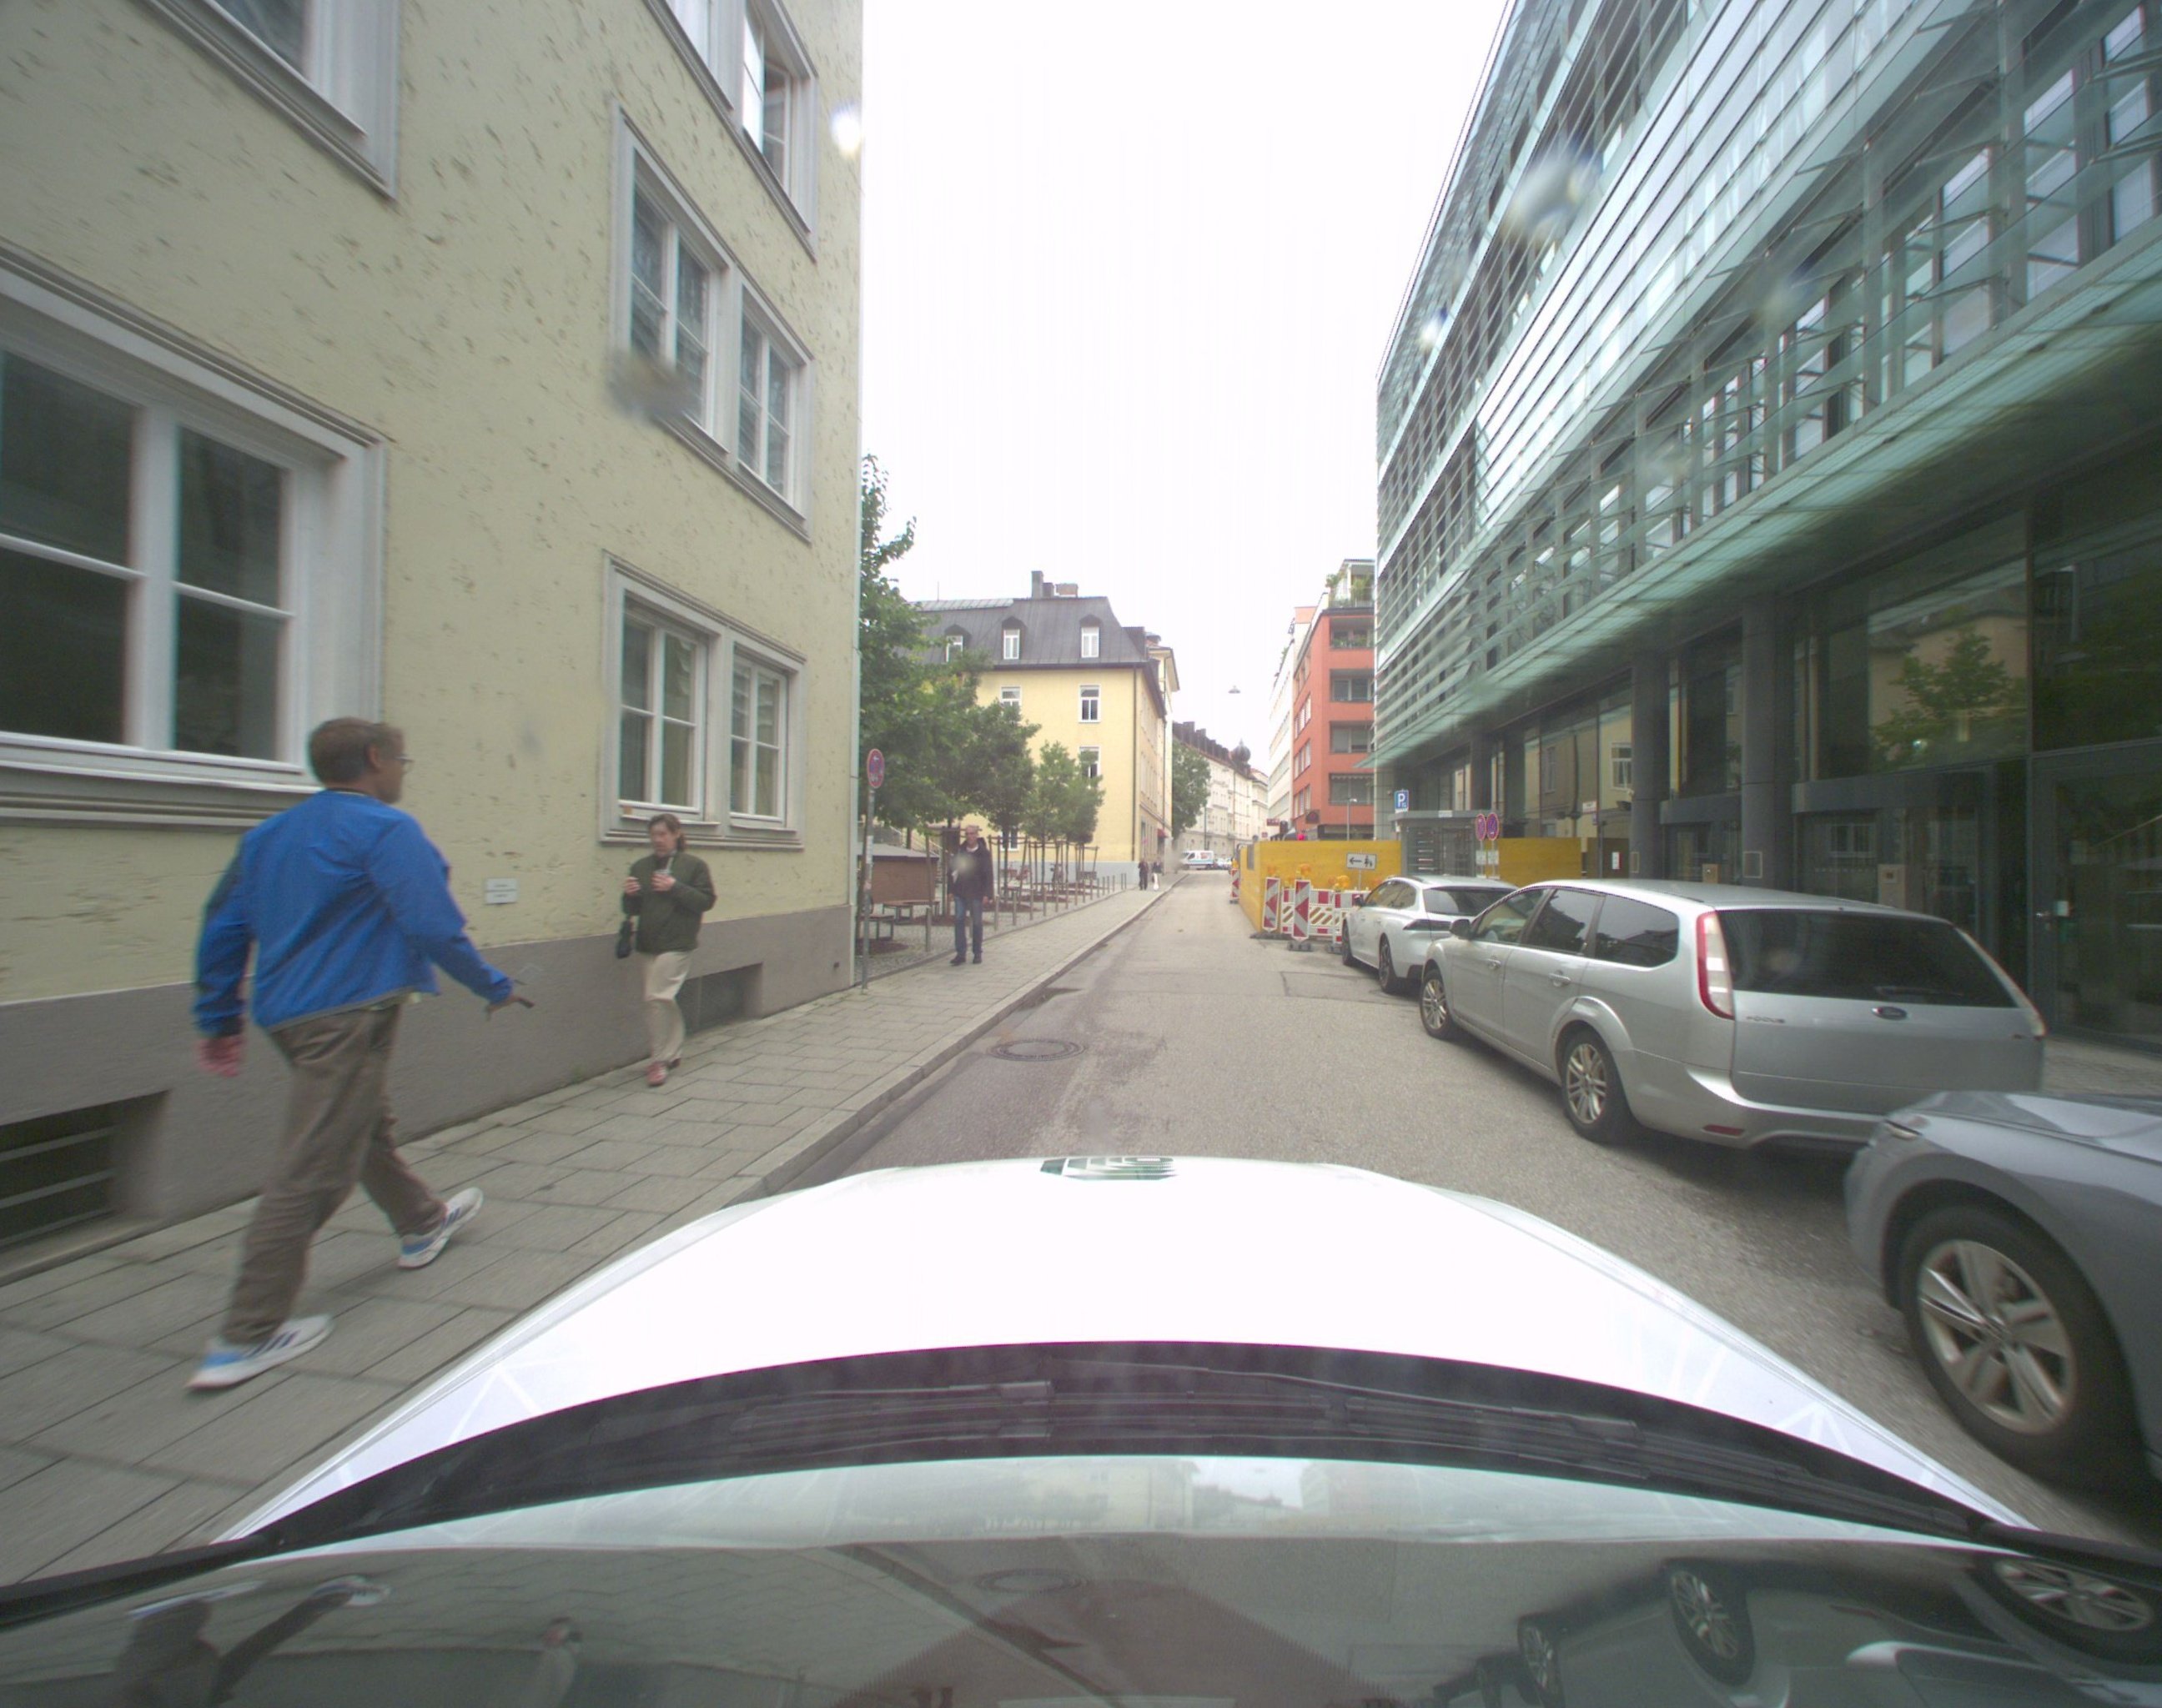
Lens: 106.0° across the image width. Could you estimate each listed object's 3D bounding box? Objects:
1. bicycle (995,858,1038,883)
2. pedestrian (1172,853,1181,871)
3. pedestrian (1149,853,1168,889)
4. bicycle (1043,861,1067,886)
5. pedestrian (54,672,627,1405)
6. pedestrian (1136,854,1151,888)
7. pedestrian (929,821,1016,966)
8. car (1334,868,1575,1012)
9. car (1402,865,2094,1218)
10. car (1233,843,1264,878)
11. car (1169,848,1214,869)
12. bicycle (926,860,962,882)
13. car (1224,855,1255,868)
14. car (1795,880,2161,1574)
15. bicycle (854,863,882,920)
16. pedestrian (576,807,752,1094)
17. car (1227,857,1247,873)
[{"bbox_3d":[-3.281,0.848,41.398,2.028,1.197,0.572,1,0,15],"label":"bicycle"},{"bbox_3d":[8.820,0.747,75.035,0.636,1.675,0.515,1,0,-16],"label":"pedestrian"},{"bbox_3d":[3.813,0.834,39.936,0.834,1.700,0.805,1,-1,8],"label":"pedestrian"},{"bbox_3d":[-1.229,0.932,38.775,0.506,1.144,2.061,2,0,17],"label":"bicycle"},{"bbox_3d":[-2.238,0.457,2.650,0.752,1.854,1.079,2,-1,9],"label":"pedestrian"},{"bbox_3d":[3.096,0.852,40.299,0.666,1.648,0.763,1,-1,8],"label":"pedestrian"},{"bbox_3d":[-1.466,0.519,11.236,0.863,1.881,1.137,1,-1,8],"label":"pedestrian"},{"bbox_3d":[4.636,0.941,10.860,1.698,1.414,4.520,2,0,9],"label":"car"},{"bbox_3d":[3.798,0.853,5.759,1.699,1.467,4.243,2,0,5],"label":"car"},{"bbox_3d":[12.777,0.453,62.485,1.982,2.536,4.986,1,0,8],"label":"car"},{"bbox_3d":[12.962,0.538,95.163,5.008,2.398,1.981,1,0,-30],"label":"car"},{"bbox_3d":[-7.012,0.860,41.658,1.645,1.069,0.600,2,0,12],"label":"bicycle"},{"bbox_3d":[19.954,0.968,102.569,4.021,1.574,1.677,1,0,-41],"label":"car"},{"bbox_3d":[2.963,0.797,0.516,1.698,1.432,4.339,1,0,8],"label":"car"},{"bbox_3d":[-4.773,0.810,18.327,0.551,1.197,1.829,1,0,-13],"label":"bicycle"},{"bbox_3d":[-2.621,0.568,5.190,0.643,1.676,0.725,1,-1,8],"label":"pedestrian"},{"bbox_3d":[15.430,1.071,80.701,1.801,1.563,4.284,2,0,8],"label":"car"}]
